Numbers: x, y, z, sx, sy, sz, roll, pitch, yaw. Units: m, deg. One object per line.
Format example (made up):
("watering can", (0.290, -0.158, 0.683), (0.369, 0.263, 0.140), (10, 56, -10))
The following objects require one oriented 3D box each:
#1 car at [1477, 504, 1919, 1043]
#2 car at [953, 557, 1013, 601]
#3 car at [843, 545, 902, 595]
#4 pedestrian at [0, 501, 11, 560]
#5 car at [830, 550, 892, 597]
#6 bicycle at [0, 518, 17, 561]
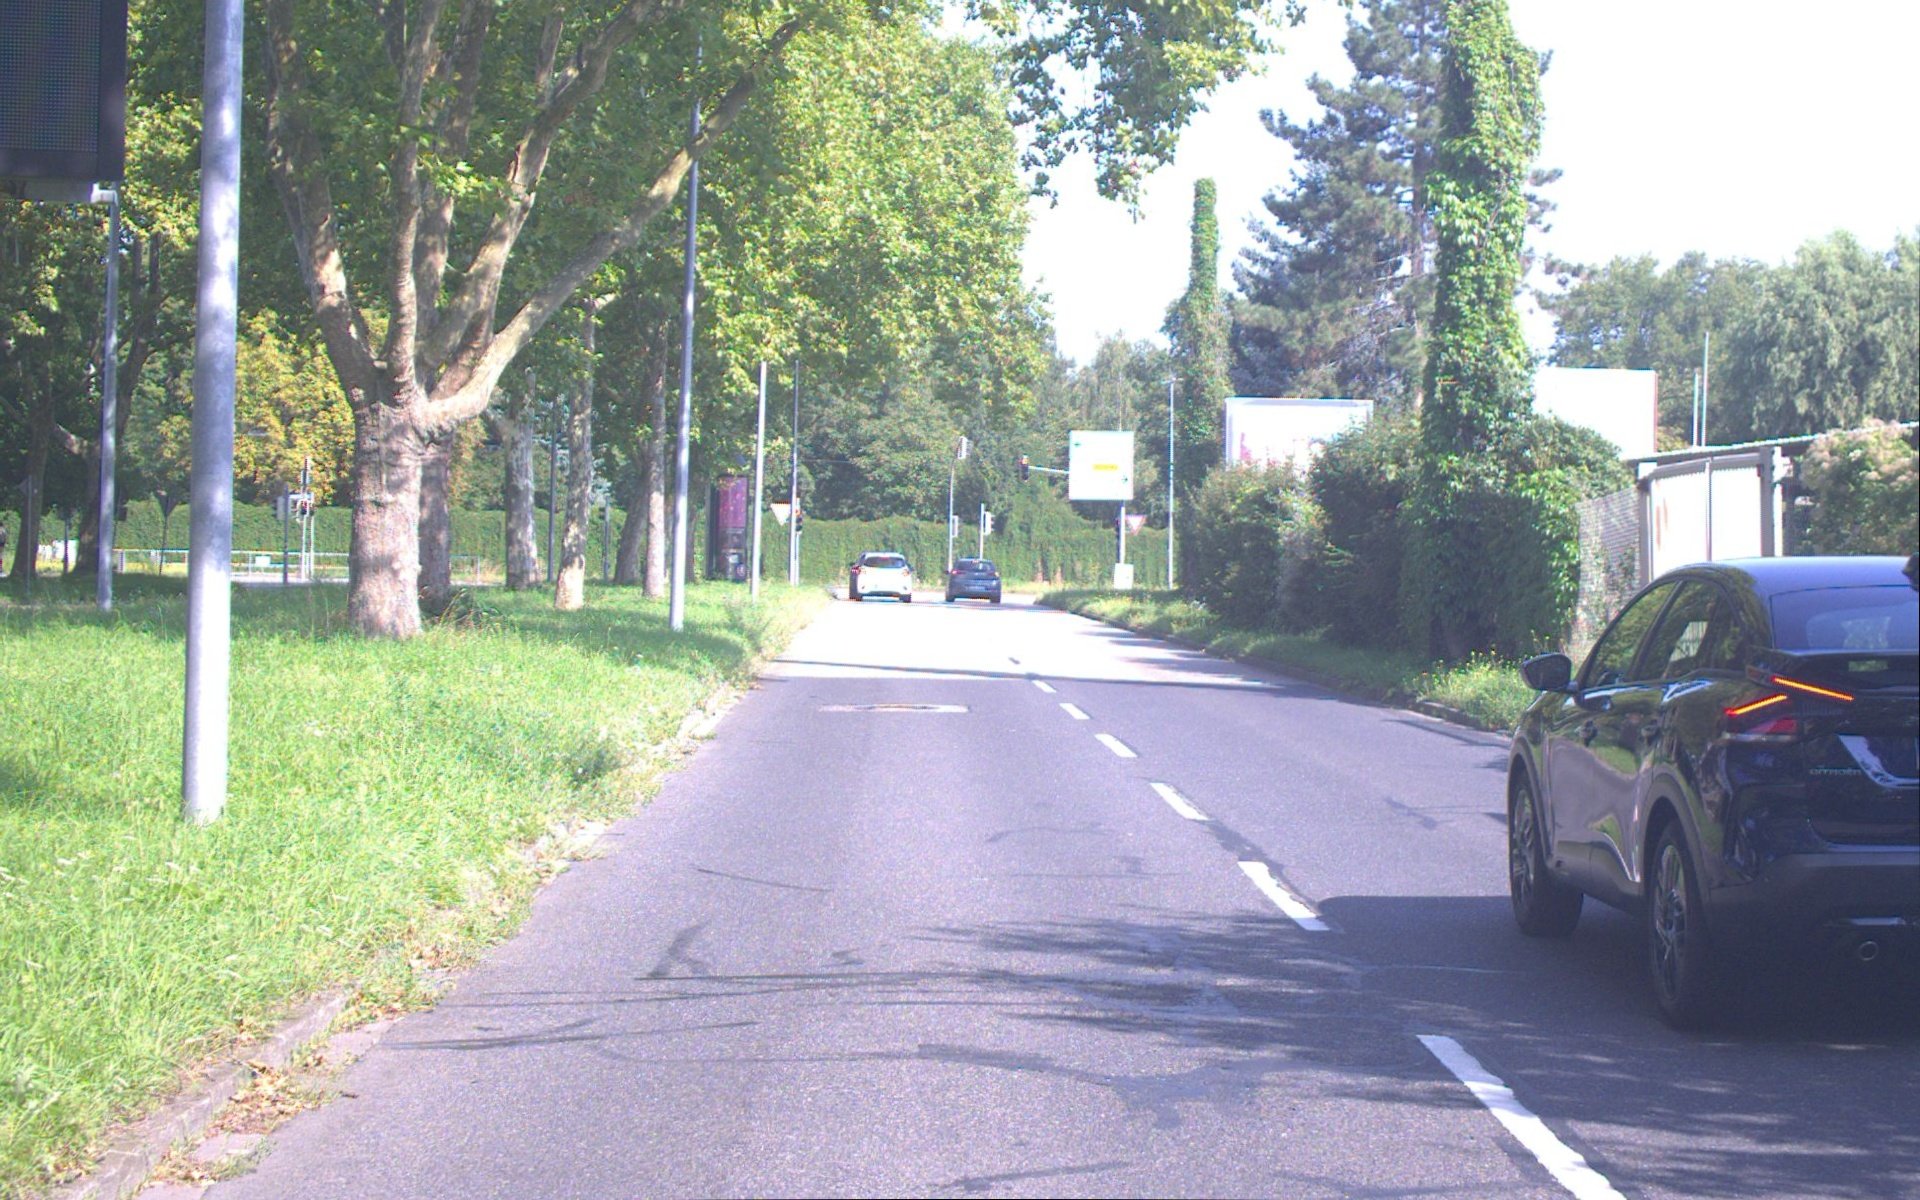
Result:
("car", (3.034, 0.511, 12.260), (1.645, 1.583, 4.255), (1, 0, -1))
("car", (0.759, -0.693, 114.630), (1.797, 1.396, 4.000), (2, 0, -2))
("car", (-2.677, -0.905, 105.705), (1.687, 1.457, 4.000), (2, 0, 0))
("pedestrian", (-27.403, -1.981, 97.913), (0.542, 1.685, 0.658), (2, 0, -4))
("car", (-3.260, -0.868, 114.020), (1.687, 1.457, 3.849), (2, 0, 3))
("bicycle", (-27.417, -1.731, 97.922), (0.544, 1.195, 2.762), (2, 0, -5))
